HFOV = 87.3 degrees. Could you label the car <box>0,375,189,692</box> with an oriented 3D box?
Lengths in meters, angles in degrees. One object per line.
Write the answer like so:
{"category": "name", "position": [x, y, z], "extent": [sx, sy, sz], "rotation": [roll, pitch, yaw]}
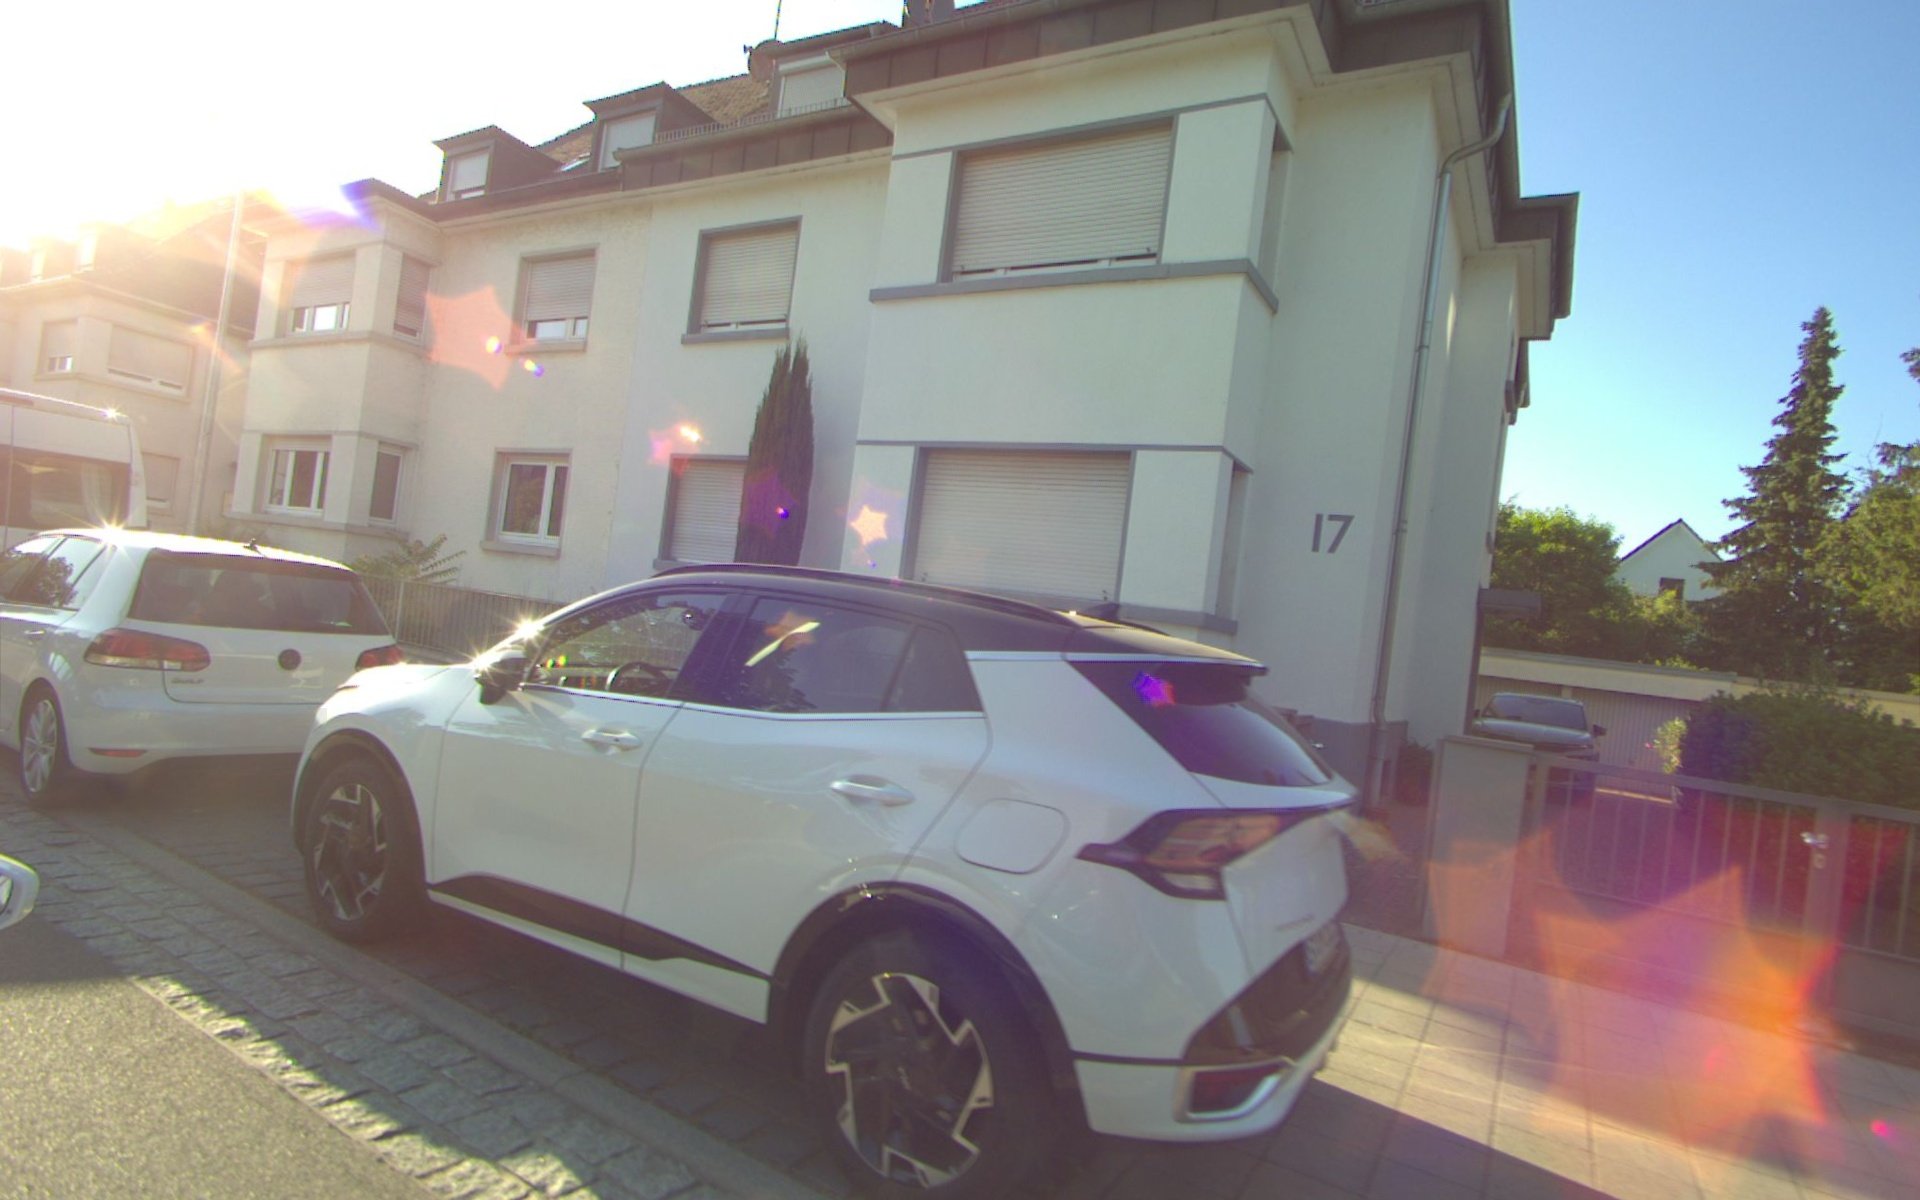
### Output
{"category": "car", "position": [-10.130, -0.797, 9.685], "extent": [5.415, 2.547, 2.135], "rotation": [7, -2, 30]}

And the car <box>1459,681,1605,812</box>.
{"category": "car", "position": [9.315, 2.317, 16.251], "extent": [1.701, 1.615, 3.716], "rotation": [7, -3, 33]}

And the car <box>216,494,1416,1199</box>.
{"category": "car", "position": [-0.773, 0.659, 3.972], "extent": [4.404, 1.665, 1.781], "rotation": [7, -1, 30]}

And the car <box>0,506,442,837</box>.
{"category": "car", "position": [-5.355, 0.259, 6.538], "extent": [4.041, 1.500, 1.624], "rotation": [6, -1, 33]}
